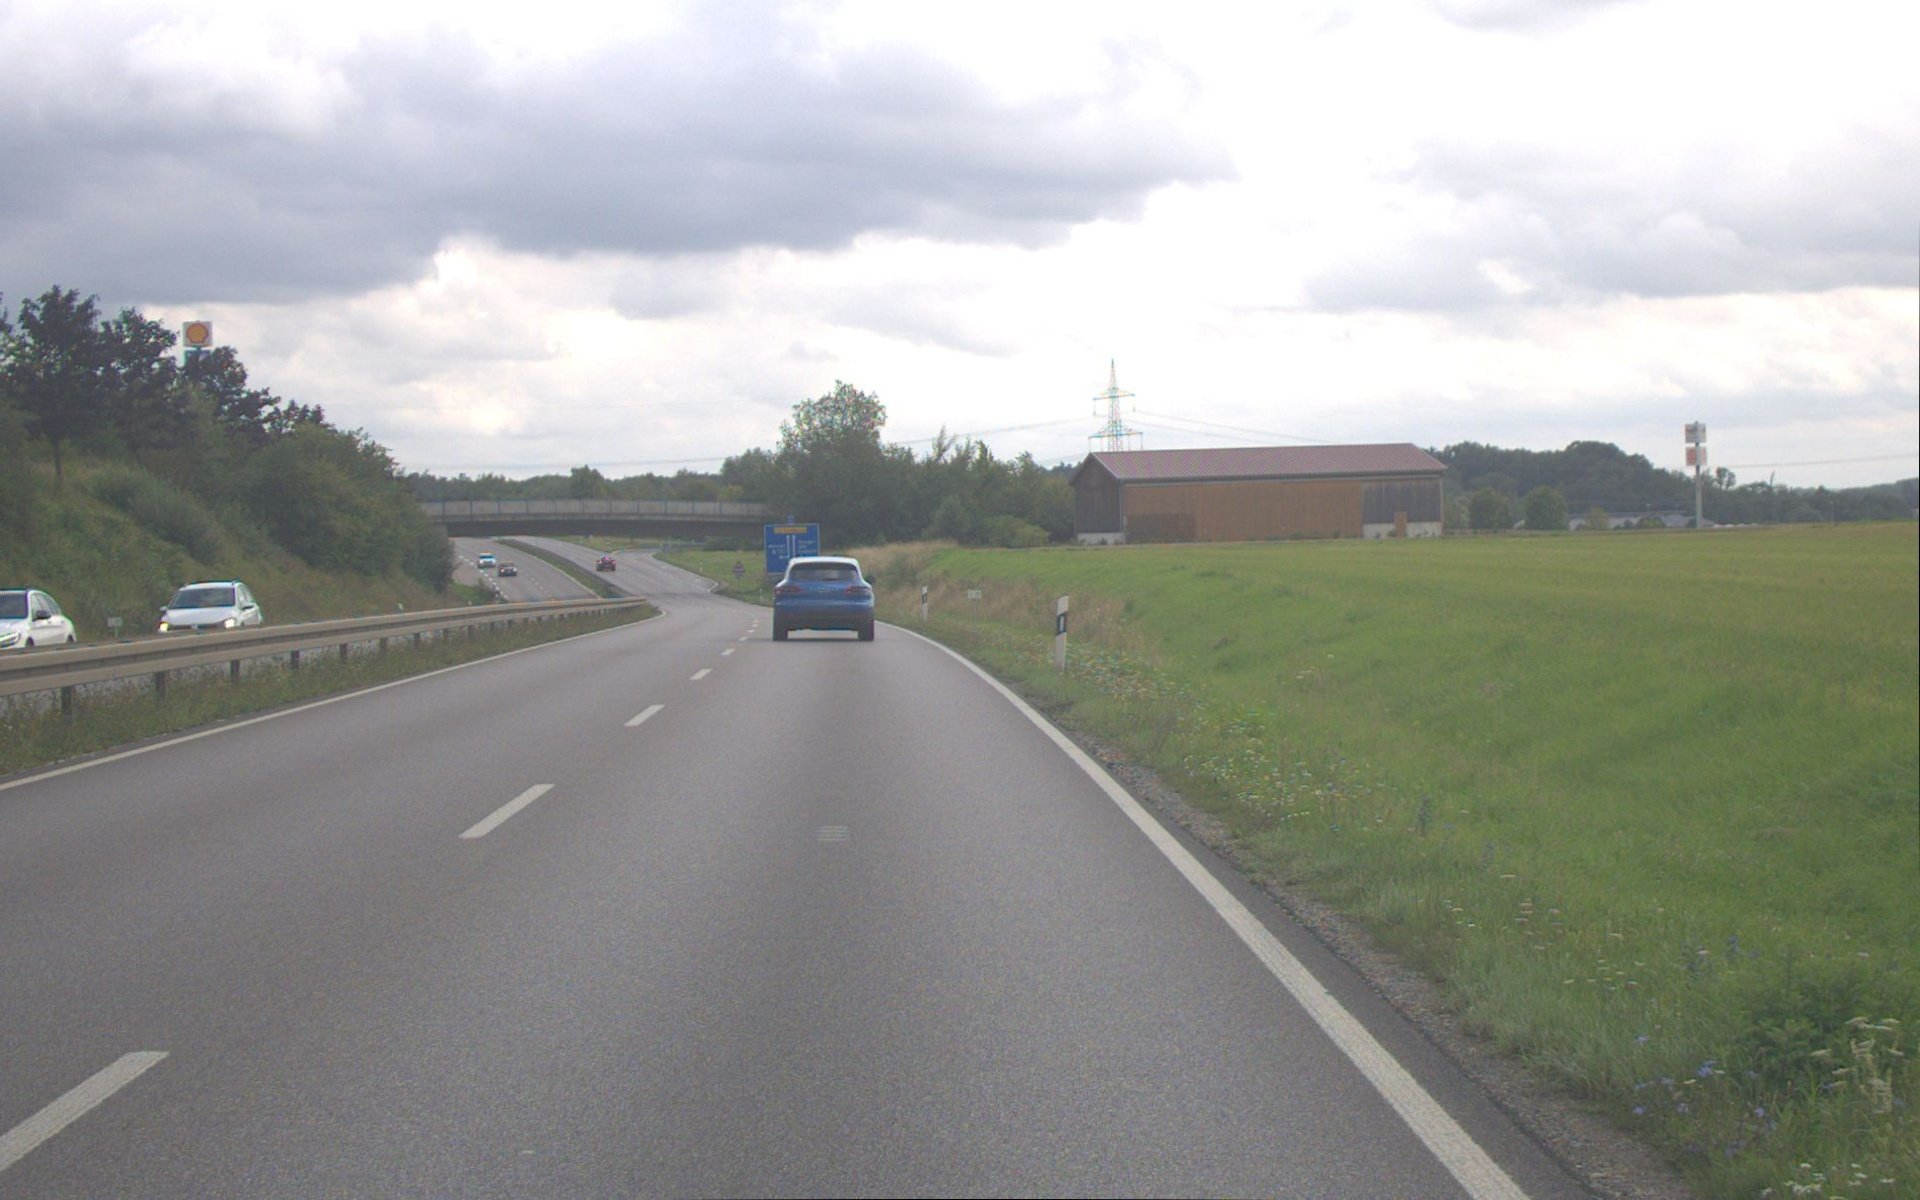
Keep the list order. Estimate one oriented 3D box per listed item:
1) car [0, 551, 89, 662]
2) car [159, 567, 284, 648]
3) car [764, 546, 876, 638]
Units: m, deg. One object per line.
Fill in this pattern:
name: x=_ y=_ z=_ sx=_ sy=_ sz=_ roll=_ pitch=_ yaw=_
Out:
car: x=-15.208 y=0.085 z=53.833 sx=1.993 sy=1.512 sz=4.989 roll=-1 pitch=2 yaw=-2
car: x=-15.954 y=0.132 z=74.487 sx=1.920 sy=1.512 sz=4.464 roll=-1 pitch=2 yaw=-3
car: x=-2.749 y=-0.184 z=66.593 sx=2.033 sy=1.655 sz=4.544 roll=0 pitch=2 yaw=-4
